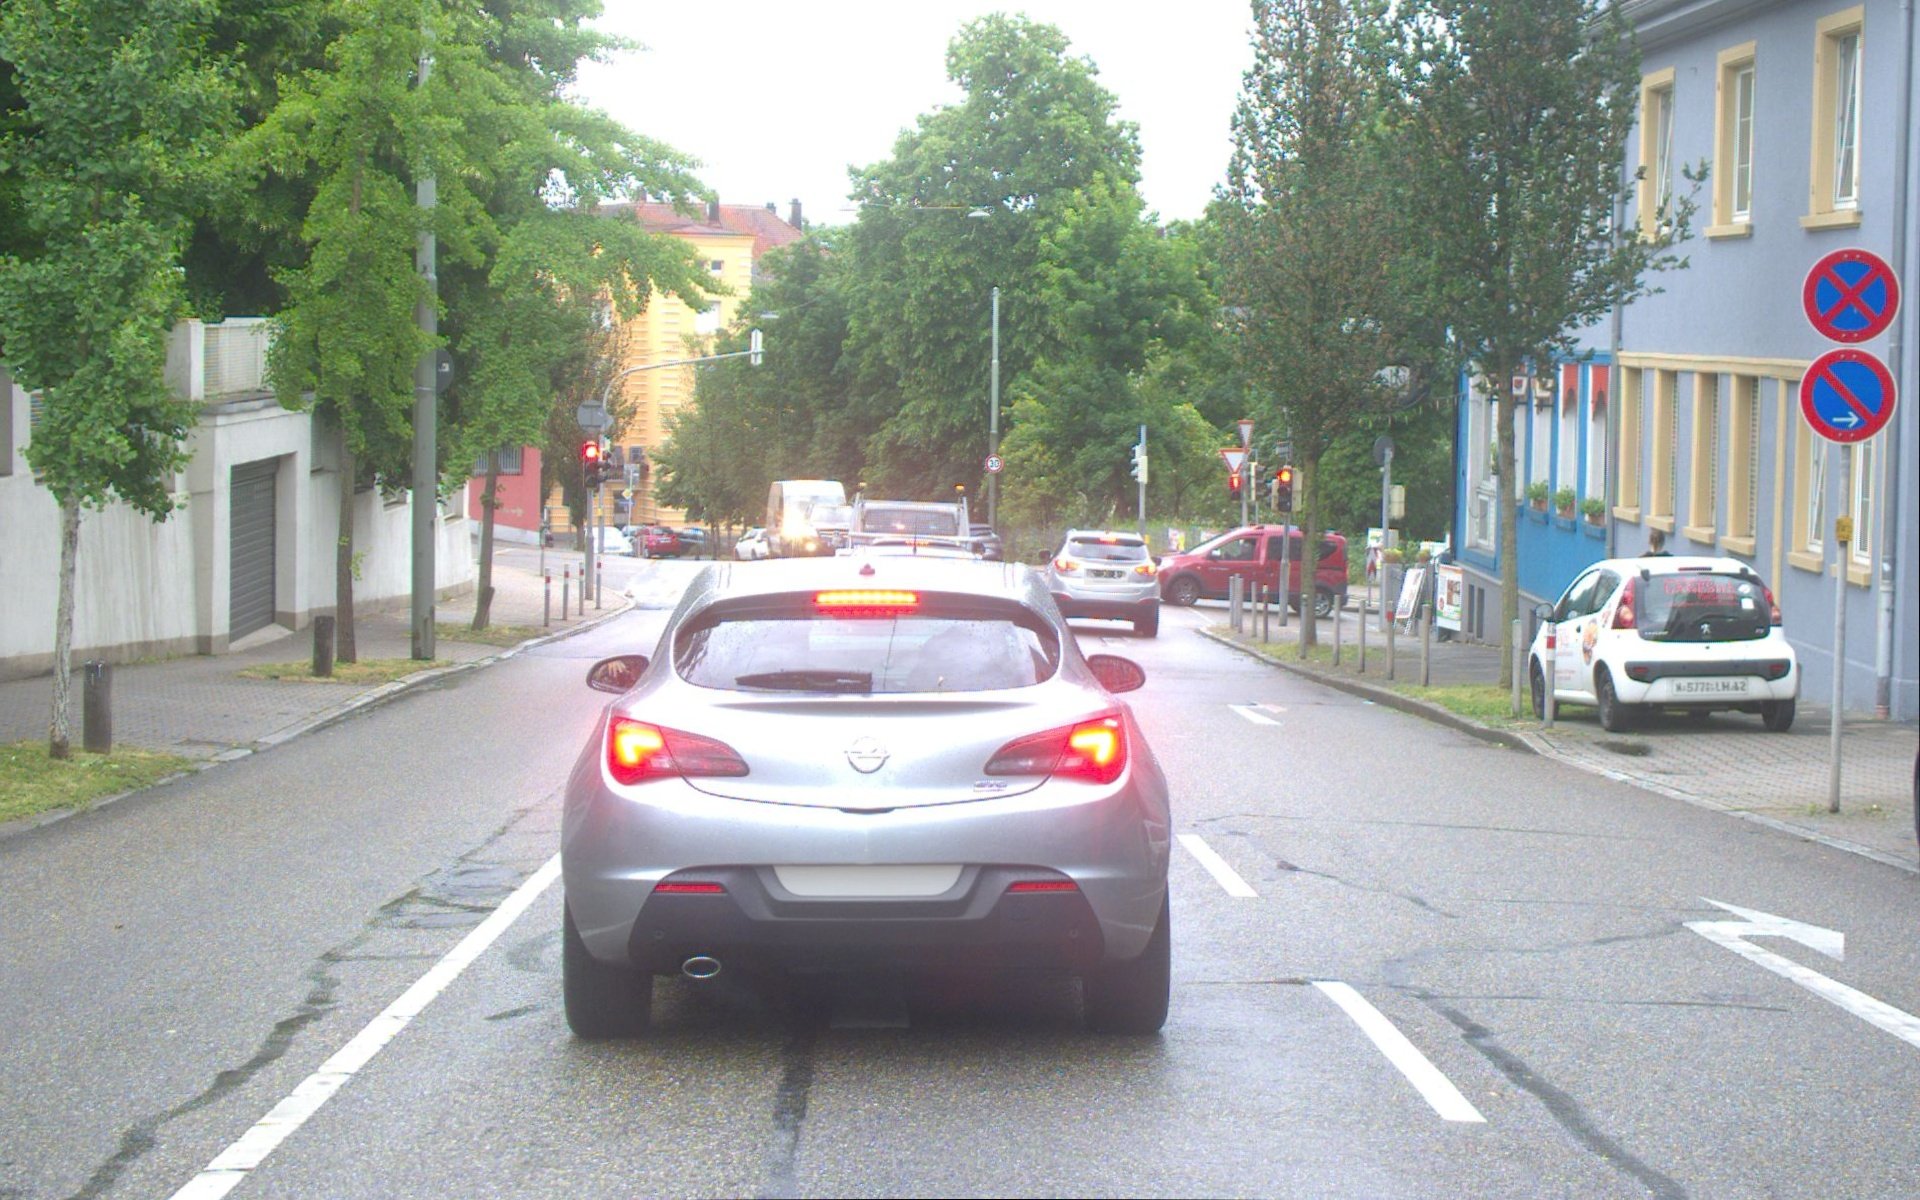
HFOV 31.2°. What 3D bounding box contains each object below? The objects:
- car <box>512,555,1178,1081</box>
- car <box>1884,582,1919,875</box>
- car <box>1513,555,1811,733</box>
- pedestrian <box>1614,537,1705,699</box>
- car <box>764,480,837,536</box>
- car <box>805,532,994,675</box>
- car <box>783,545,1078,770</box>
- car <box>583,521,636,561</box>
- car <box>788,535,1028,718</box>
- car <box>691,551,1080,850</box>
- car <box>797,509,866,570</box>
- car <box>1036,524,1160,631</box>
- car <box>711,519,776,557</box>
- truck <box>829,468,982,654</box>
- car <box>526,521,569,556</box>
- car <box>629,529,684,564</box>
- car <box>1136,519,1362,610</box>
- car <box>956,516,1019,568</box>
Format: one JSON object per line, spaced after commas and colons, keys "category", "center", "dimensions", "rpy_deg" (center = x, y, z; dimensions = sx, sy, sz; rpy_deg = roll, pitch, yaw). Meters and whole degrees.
{"category": "car", "center": [-0.401, 0.588, 11.540], "dimensions": [1.837, 1.429, 3.880], "rpy_deg": [1, 1, -2]}
{"category": "car", "center": [5.823, 0.692, 15.386], "dimensions": [1.962, 1.443, 4.527], "rpy_deg": [1, 1, -2]}
{"category": "car", "center": [6.097, 0.335, 30.265], "dimensions": [1.722, 1.443, 3.880], "rpy_deg": [0, 1, -2]}
{"category": "pedestrian", "center": [7.593, 0.188, 37.341], "dimensions": [0.783, 1.723, 0.651], "rpy_deg": [2, 1, 0]}
{"category": "car", "center": [-4.751, -2.711, 101.785], "dimensions": [1.722, 1.632, 3.881], "rpy_deg": [0, 1, -9]}
{"category": "car", "center": [-0.710, -0.005, 38.658], "dimensions": [1.962, 1.443, 4.306], "rpy_deg": [2, 1, -2]}
{"category": "car", "center": [-0.269, 0.360, 25.619], "dimensions": [1.962, 1.443, 4.306], "rpy_deg": [2, 1, -2]}
{"category": "car", "center": [-13.039, -2.203, 128.061], "dimensions": [1.722, 1.455, 3.880], "rpy_deg": [0, 1, -2]}
{"category": "car", "center": [-0.505, 0.182, 30.998], "dimensions": [1.962, 1.443, 4.306], "rpy_deg": [2, 1, -2]}
{"category": "car", "center": [-0.450, 0.490, 19.898], "dimensions": [1.962, 1.443, 4.306], "rpy_deg": [2, 1, -2]}
{"category": "car", "center": [-3.506, -1.654, 94.161], "dimensions": [1.870, 1.632, 3.880], "rpy_deg": [0, 1, -2]}
{"category": "car", "center": [2.237, -0.396, 56.689], "dimensions": [1.722, 1.708, 3.880], "rpy_deg": [0, 1, -3]}
{"category": "car", "center": [-8.874, -2.530, 140.888], "dimensions": [1.722, 1.538, 3.881], "rpy_deg": [0, 1, -18]}
{"category": "truck", "center": [-0.810, -0.580, 48.652], "dimensions": [1.962, 2.420, 4.936], "rpy_deg": [2, 1, -2]}
{"category": "car", "center": [-19.951, -2.979, 166.206], "dimensions": [1.722, 1.632, 3.881], "rpy_deg": [1, 1, -12]}
{"category": "car", "center": [-14.100, -2.490, 159.652], "dimensions": [1.722, 1.632, 3.881], "rpy_deg": [0, 1, -18]}
{"category": "car", "center": [6.004, -0.737, 71.626], "dimensions": [4.443, 1.822, 1.752], "rpy_deg": [-1, 1, -5]}
{"category": "car", "center": [0.874, -1.871, 110.459], "dimensions": [1.722, 1.632, 3.880], "rpy_deg": [0, 1, -4]}
